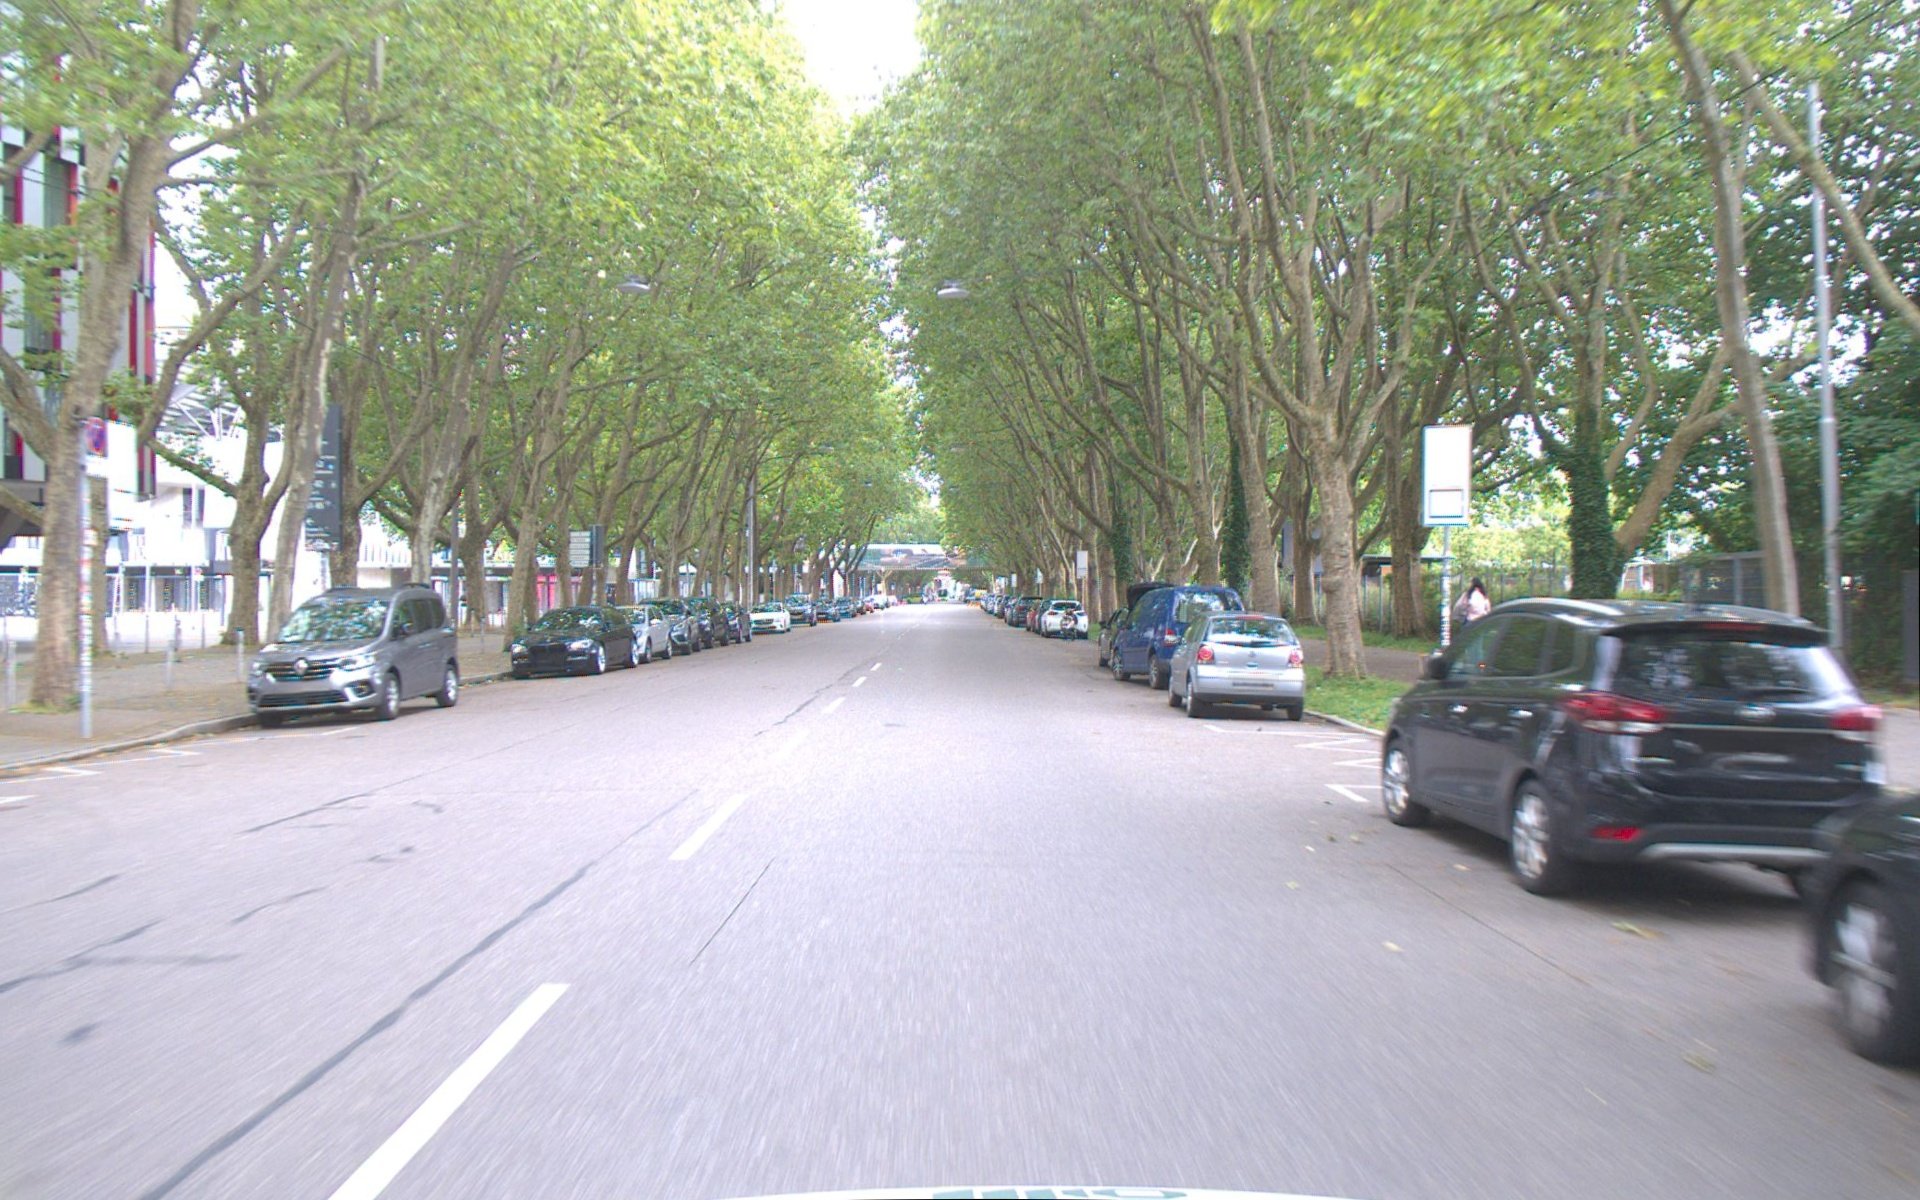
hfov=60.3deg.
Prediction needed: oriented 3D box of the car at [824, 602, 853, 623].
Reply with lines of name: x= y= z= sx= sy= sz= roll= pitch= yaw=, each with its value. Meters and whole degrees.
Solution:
car: x=-9.222 y=0.936 z=125.963 sx=1.839 sy=1.553 sz=4.151 roll=-1 pitch=0 yaw=0

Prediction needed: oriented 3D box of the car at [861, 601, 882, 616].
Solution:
car: x=-9.636 y=0.890 z=179.738 sx=2.031 sy=1.590 sz=4.756 roll=0 pitch=0 yaw=0

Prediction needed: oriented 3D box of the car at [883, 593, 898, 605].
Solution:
car: x=-9.782 y=-0.149 z=233.193 sx=1.955 sy=1.629 sz=3.996 roll=0 pitch=0 yaw=-5

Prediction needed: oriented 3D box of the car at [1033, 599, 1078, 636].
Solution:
car: x=4.080 y=0.742 z=71.307 sx=1.694 sy=1.496 sz=4.080 roll=2 pitch=0 yaw=1

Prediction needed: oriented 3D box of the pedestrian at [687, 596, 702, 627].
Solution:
pedestrian: x=-15.217 y=0.670 z=94.765 sx=0.562 sy=1.772 sz=0.768 roll=0 pitch=0 yaw=14

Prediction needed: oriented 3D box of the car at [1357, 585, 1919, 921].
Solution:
car: x=4.027 y=0.763 z=10.547 sx=1.792 sy=1.630 sz=4.466 roll=2 pitch=0 yaw=-1

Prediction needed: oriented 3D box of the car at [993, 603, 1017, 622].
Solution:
car: x=3.521 y=0.950 z=129.933 sx=1.672 sy=1.452 sz=3.889 roll=1 pitch=0 yaw=0

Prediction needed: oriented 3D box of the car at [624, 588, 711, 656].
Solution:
car: x=-8.344 y=0.601 z=47.464 sx=1.832 sy=1.748 sz=4.645 roll=-3 pitch=0 yaw=-3

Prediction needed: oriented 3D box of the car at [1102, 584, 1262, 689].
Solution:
car: x=4.140 y=0.629 z=31.553 sx=1.808 sy=1.814 sz=4.438 roll=2 pitch=0 yaw=-9

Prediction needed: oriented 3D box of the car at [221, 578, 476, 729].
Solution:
car: x=-8.467 y=0.694 z=23.369 sx=1.857 sy=1.827 sz=4.611 roll=-3 pitch=0 yaw=-1

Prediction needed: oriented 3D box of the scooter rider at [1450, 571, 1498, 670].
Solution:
scooter rider: x=9.687 y=0.384 z=31.181 sx=0.662 sy=1.831 sz=0.587 roll=-2 pitch=0 yaw=0

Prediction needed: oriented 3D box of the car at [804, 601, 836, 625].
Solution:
car: x=-9.137 y=0.857 z=108.178 sx=1.689 sy=1.512 sz=4.574 roll=0 pitch=0 yaw=0

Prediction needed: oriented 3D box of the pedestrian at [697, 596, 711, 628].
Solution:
pedestrian: x=-14.629 y=0.678 z=94.593 sx=0.564 sy=1.801 sz=0.768 roll=0 pitch=0 yaw=14

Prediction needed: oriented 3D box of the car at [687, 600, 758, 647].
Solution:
car: x=-8.421 y=0.812 z=59.058 sx=1.796 sy=1.520 sz=4.442 roll=-3 pitch=0 yaw=0

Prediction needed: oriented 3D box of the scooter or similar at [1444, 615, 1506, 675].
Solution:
scooter or similar: x=9.698 y=0.844 z=31.173 sx=0.666 sy=1.056 sz=1.467 roll=-3 pitch=0 yaw=0

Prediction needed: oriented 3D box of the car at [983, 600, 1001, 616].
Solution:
car: x=3.231 y=0.799 z=166.999 sx=1.766 sy=1.583 sz=3.999 roll=0 pitch=0 yaw=-1

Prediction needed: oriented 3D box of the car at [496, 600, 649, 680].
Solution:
car: x=-8.446 y=0.823 z=36.542 sx=2.041 sy=1.556 sz=5.146 roll=-2 pitch=0 yaw=1

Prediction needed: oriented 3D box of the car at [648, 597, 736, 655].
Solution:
car: x=-8.603 y=0.808 z=53.501 sx=1.898 sy=1.671 sz=4.928 roll=-3 pitch=0 yaw=1

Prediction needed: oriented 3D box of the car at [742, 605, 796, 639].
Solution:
car: x=-8.821 y=0.985 z=76.722 sx=1.865 sy=1.427 sz=4.751 roll=-3 pitch=0 yaw=0

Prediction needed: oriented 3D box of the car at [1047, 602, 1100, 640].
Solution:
car: x=4.477 y=0.807 z=65.572 sx=1.700 sy=1.464 sz=4.121 roll=0 pitch=0 yaw=-2

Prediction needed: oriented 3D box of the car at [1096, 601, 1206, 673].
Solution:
car: x=4.286 y=0.805 z=37.812 sx=1.953 sy=1.504 sz=4.371 roll=1 pitch=0 yaw=0

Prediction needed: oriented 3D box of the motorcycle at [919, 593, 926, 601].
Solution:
motorcycle: x=-5.333 y=-0.411 z=235.016 sx=0.856 sy=1.098 sz=3.050 roll=0 pitch=0 yaw=-4

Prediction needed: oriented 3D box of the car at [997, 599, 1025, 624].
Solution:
car: x=3.580 y=0.793 z=117.040 sx=1.673 sy=1.728 sz=4.629 roll=2 pitch=0 yaw=-2

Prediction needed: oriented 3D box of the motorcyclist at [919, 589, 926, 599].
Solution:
motorcyclist: x=-5.327 y=-0.833 z=235.095 sx=0.853 sy=1.506 sz=1.264 roll=0 pitch=0 yaw=-4

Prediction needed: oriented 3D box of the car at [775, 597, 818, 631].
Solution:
car: x=-8.885 y=0.757 z=90.204 sx=1.909 sy=1.781 sz=4.637 roll=-2 pitch=0 yaw=-1

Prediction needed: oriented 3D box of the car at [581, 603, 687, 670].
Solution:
car: x=-8.224 y=0.883 z=42.024 sx=1.796 sy=1.481 sz=4.230 roll=-3 pitch=0 yaw=0

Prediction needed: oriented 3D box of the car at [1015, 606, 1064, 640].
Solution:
car: x=3.654 y=1.046 z=76.286 sx=1.682 sy=1.464 sz=4.625 roll=2 pitch=0 yaw=-4

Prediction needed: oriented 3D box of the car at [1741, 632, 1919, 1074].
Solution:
car: x=4.087 y=0.894 z=4.634 sx=1.739 sy=1.443 sz=4.287 roll=2 pitch=0 yaw=0

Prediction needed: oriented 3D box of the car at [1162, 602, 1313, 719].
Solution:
car: x=3.972 y=0.817 z=24.207 sx=1.585 sy=1.487 sz=3.946 roll=2 pitch=0 yaw=1

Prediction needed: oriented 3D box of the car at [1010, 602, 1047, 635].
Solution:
car: x=3.624 y=0.972 z=87.705 sx=1.719 sy=1.648 sz=4.439 roll=2 pitch=0 yaw=0

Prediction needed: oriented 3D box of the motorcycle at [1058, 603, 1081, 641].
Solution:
motorcycle: x=3.992 y=0.782 z=60.201 sx=0.697 sy=1.355 sz=1.994 roll=0 pitch=0 yaw=8
